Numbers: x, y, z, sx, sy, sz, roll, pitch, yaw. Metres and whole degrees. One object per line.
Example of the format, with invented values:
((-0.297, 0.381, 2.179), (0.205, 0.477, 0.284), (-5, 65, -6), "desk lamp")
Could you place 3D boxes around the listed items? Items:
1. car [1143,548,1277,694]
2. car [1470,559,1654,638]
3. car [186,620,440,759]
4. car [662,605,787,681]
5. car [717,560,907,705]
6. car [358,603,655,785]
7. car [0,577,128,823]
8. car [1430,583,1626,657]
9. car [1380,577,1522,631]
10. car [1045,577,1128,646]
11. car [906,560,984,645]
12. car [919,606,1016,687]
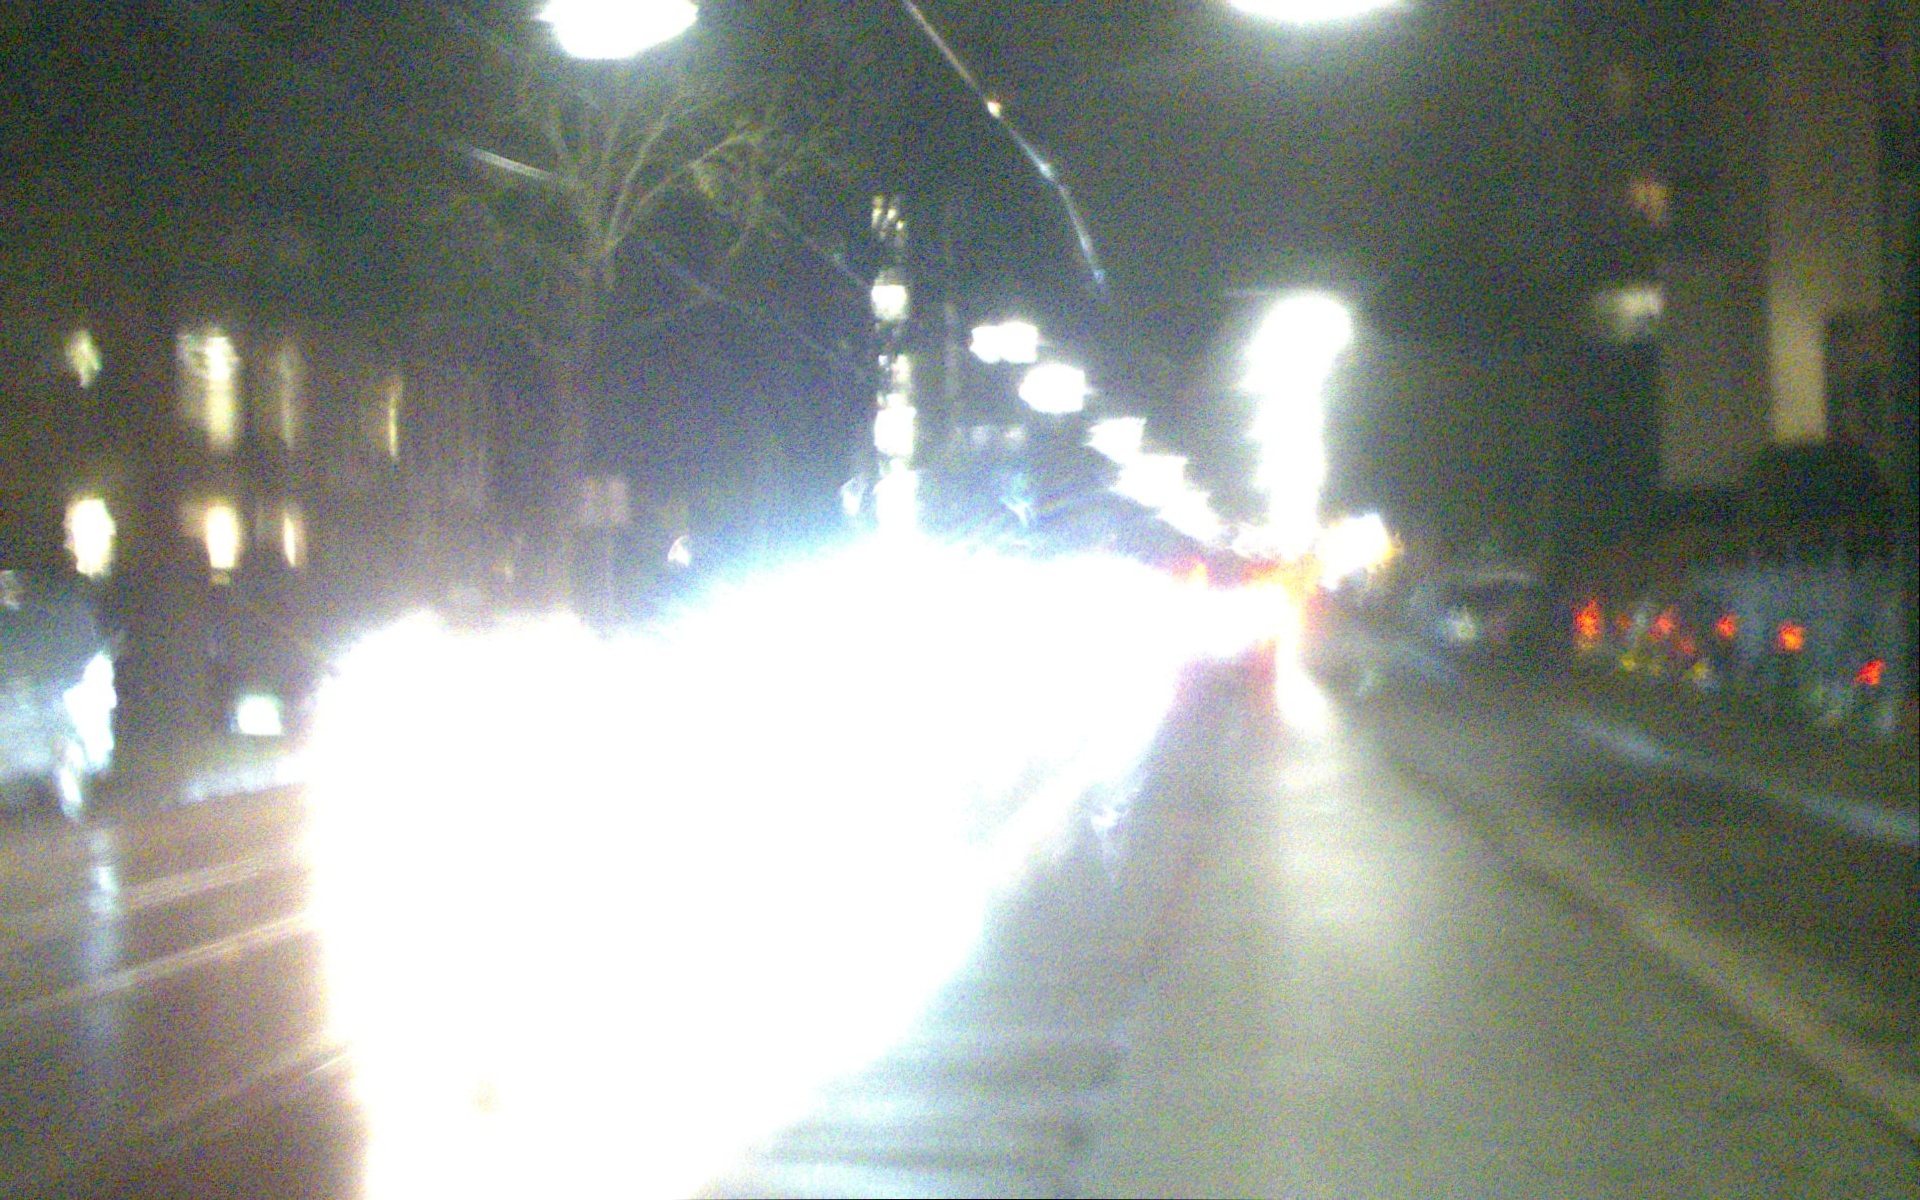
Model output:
((4.359, 0.348, 60.292), (2.217, 2.433, 5.383), (0, 0, 4), "car")
((14.449, -0.030, 82.466), (4.161, 1.833, 1.962), (1, 0, -36), "car")
((-7.093, 0.947, 38.067), (1.766, 1.402, 4.141), (1, 0, 4), "car")
((-4.483, 0.827, 65.860), (1.668, 1.382, 4.000), (1, -1, 6), "car")
((-2.037, 0.411, 48.778), (1.926, 1.873, 4.636), (-3, 0, 6), "car")
((-4.023, 0.800, 31.117), (1.793, 1.459, 3.900), (-1, 0, 6), "car")
((-8.270, 0.759, 26.483), (1.994, 1.819, 5.308), (2, 1, 5), "car")
((11.500, 0.406, 69.552), (3.778, 1.453, 1.770), (1, 0, -36), "car")
((14.174, 0.116, 99.276), (3.877, 1.528, 1.821), (0, 0, -36), "car")
((3.636, 0.309, 98.221), (1.939, 1.809, 4.384), (-3, 0, 6), "car")
((-0.427, 0.049, 105.927), (2.025, 2.490, 5.607), (1, 0, 3), "car")
((0.179, 0.911, 68.892), (1.651, 1.474, 4.205), (-3, 0, 3), "car")
